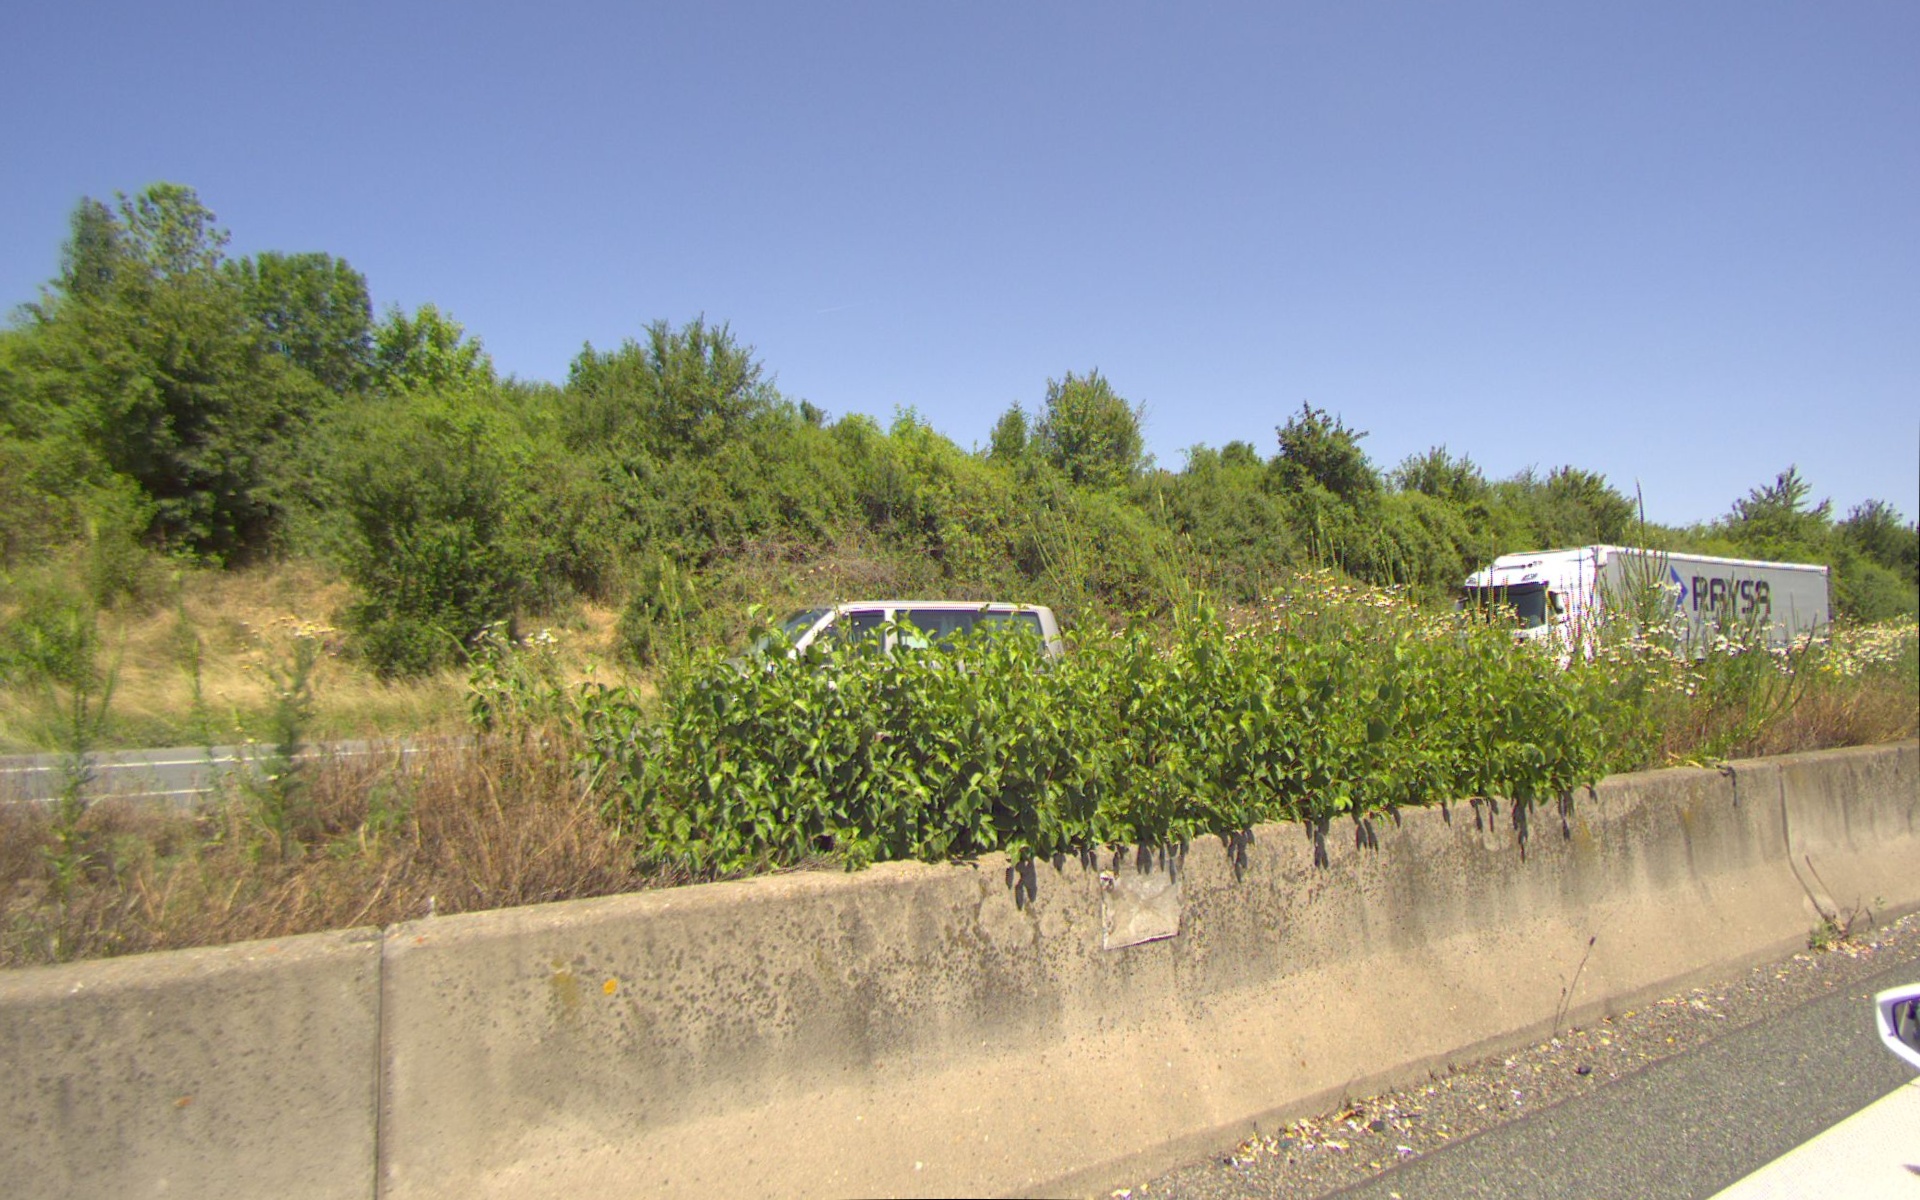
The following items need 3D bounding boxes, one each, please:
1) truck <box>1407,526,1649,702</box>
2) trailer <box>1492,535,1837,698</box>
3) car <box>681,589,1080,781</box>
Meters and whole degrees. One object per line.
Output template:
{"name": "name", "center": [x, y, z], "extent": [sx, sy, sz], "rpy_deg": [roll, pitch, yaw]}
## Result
{"name": "truck", "center": [15.167, 0.490, 26.821], "extent": [5.737, 4.220, 3.004], "rpy_deg": [1, -4, -30]}
{"name": "trailer", "center": [21.925, 0.692, 30.755], "extent": [13.855, 4.220, 3.003], "rpy_deg": [2, -4, -30]}
{"name": "car", "center": [-0.905, 0.975, 12.029], "extent": [4.377, 1.913, 1.931], "rpy_deg": [2, -5, -30]}
